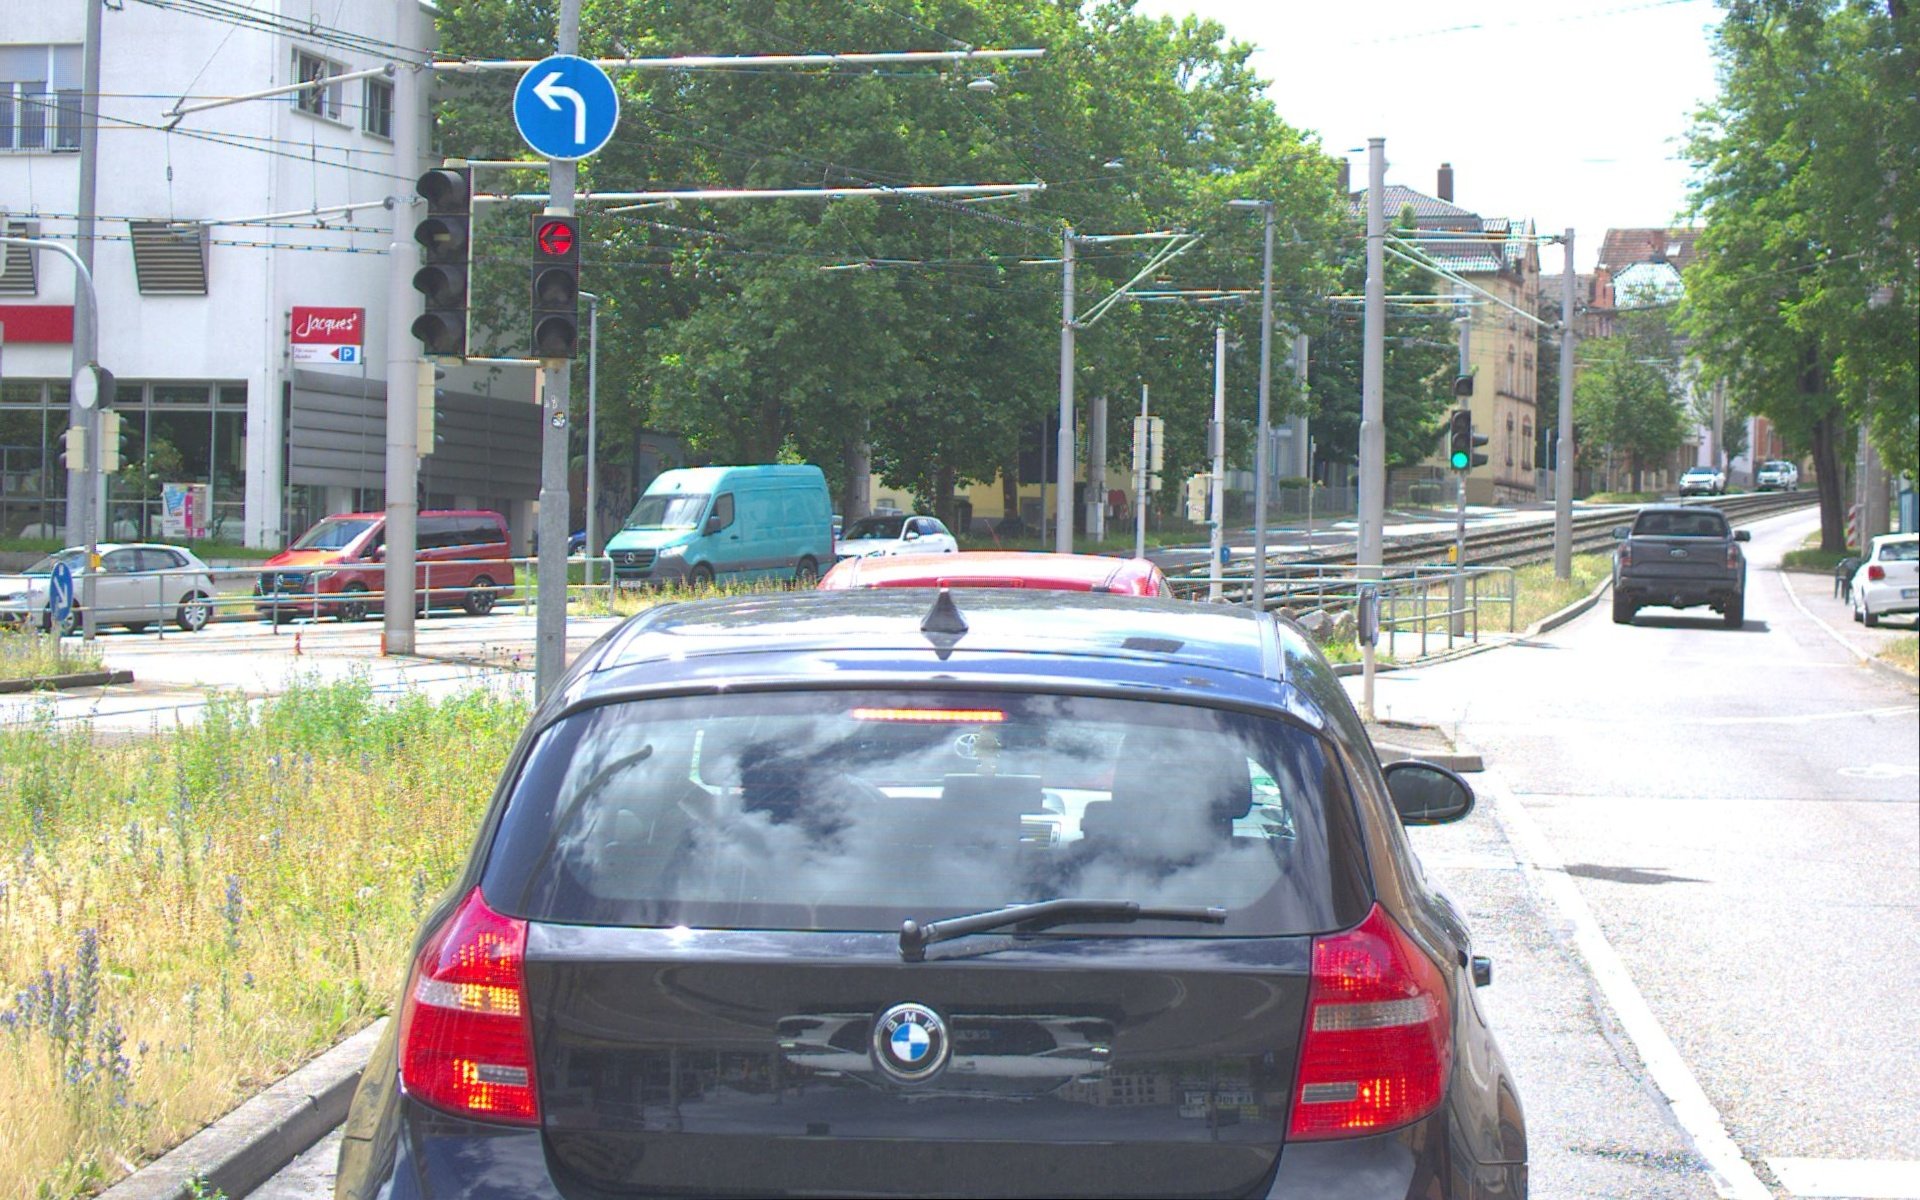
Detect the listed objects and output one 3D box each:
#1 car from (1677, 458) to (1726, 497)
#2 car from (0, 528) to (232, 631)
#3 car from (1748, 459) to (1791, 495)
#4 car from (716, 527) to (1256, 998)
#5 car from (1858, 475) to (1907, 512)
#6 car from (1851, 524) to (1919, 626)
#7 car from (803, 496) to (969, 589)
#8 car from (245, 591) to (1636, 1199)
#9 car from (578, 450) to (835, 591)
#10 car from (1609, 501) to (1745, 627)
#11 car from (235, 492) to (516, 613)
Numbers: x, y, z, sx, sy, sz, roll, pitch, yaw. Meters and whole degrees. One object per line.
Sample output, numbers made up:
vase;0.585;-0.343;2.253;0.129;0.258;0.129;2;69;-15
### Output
car;40.519;-6.672;187.734;1.996;2.007;3.996;0;0;21
car;-13.909;-0.328;54.877;1.857;1.579;4.159;0;0;43
car;48.755;-7.377;207.031;1.996;2.007;3.996;0;0;21
car;0.246;0.504;12.798;1.625;1.468;3.999;0;0;6
car;43.519;-5.011;162.153;1.995;1.656;3.996;0;0;18
car;15.470;-0.410;55.884;1.788;1.590;3.998;0;0;13
car;-1.551;-1.212;73.844;1.855;1.921;4.792;0;0;21
car;-0.111;0.716;6.212;1.701;1.447;4.000;0;0;-3
car;-4.934;-1.513;67.759;2.134;2.645;5.680;0;0;31
car;11.397;-0.554;54.582;2.000;1.880;5.147;0;0;12
car;-10.095;-0.809;59.672;1.857;2.002;4.787;0;0;38
